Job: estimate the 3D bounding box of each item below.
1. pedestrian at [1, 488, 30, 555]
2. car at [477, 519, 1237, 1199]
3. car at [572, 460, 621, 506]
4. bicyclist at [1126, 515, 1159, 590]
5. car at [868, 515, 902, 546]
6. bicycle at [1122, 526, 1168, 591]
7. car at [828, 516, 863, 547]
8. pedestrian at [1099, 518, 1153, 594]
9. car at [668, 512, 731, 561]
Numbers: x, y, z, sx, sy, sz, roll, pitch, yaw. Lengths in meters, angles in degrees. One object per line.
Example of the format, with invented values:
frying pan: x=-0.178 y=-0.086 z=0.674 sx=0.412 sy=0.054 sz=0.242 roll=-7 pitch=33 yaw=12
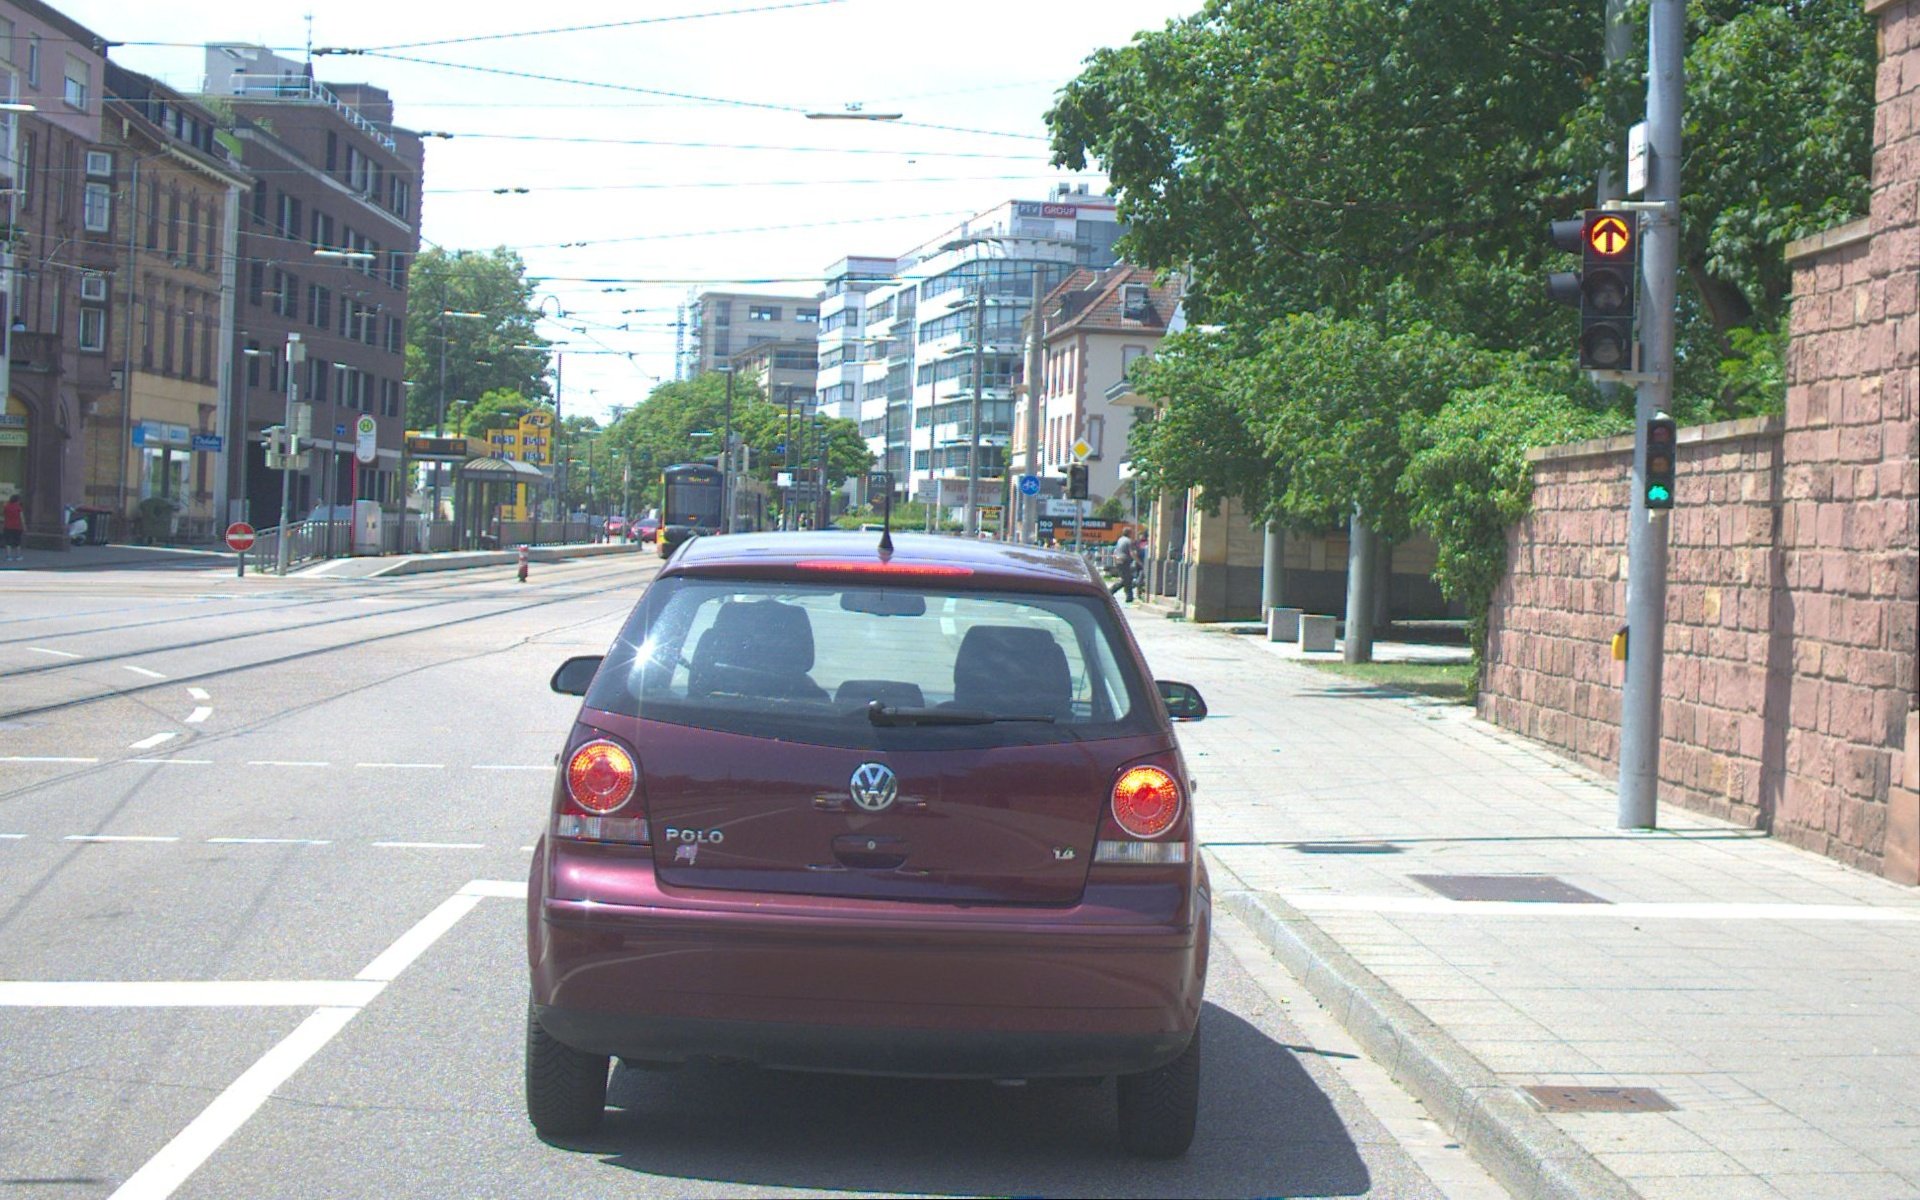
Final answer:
pedestrian: x=-21.884 y=-1.820 z=79.656 sx=0.483 sy=1.535 sz=0.538 roll=1 pitch=0 yaw=1
car: x=-0.279 y=0.538 z=9.586 sx=1.610 sy=1.458 sz=4.086 roll=2 pitch=1 yaw=-2
car: x=-16.452 y=-5.286 z=155.677 sx=1.735 sy=2.007 sz=4.000 roll=2 pitch=1 yaw=-1
bicyclist: x=4.436 y=-1.151 z=83.753 sx=0.721 sy=1.812 sz=0.888 roll=1 pitch=0 yaw=-1
car: x=-3.539 y=-3.283 z=161.988 sx=1.572 sy=1.411 sz=3.720 roll=0 pitch=1 yaw=-1
bicycle: x=4.491 y=-1.006 z=83.776 sx=0.835 sy=1.520 sz=4.000 roll=1 pitch=1 yaw=-1
car: x=-6.111 y=-3.651 z=183.850 sx=1.780 sy=1.617 sz=4.000 roll=1 pitch=0 yaw=-3
pedestrian: x=3.750 y=-0.995 z=77.694 sx=0.981 sy=1.655 sz=0.919 roll=2 pitch=1 yaw=-11
car: x=-8.955 y=-2.165 z=118.413 sx=1.938 sy=1.635 sz=4.000 roll=1 pitch=0 yaw=-1
